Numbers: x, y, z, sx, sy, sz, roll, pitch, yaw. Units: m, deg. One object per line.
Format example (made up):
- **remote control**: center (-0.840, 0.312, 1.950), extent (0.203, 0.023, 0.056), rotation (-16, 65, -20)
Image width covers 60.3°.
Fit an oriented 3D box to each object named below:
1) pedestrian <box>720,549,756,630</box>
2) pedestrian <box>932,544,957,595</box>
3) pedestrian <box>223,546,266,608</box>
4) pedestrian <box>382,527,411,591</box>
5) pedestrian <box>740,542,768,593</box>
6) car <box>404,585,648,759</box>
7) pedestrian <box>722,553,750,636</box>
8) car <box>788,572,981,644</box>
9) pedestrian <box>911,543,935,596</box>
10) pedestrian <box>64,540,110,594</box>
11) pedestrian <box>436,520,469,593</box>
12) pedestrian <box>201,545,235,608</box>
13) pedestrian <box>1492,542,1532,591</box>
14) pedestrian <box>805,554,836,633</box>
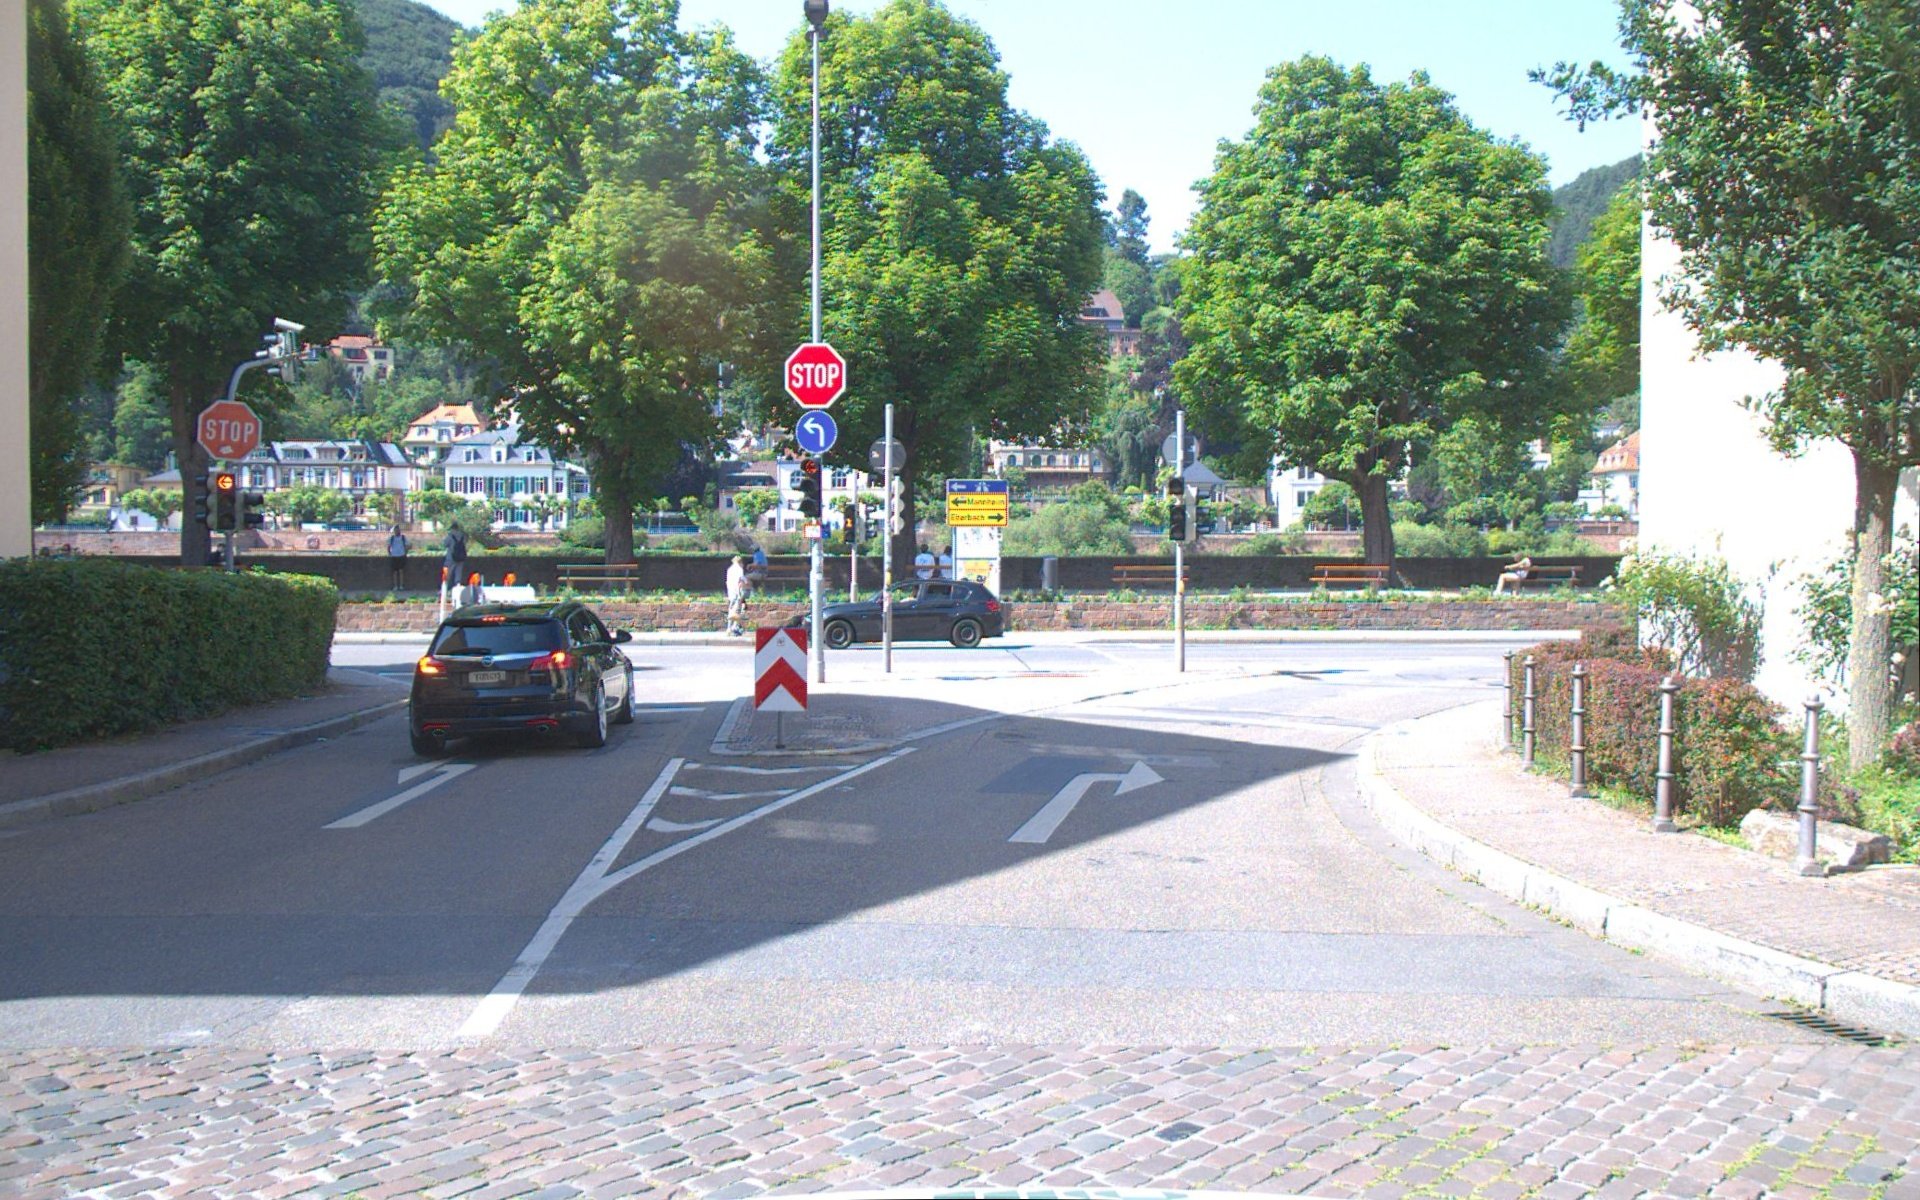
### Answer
- **pedestrian**: center (-5.119, -0.240, 38.157), extent (0.707, 1.833, 0.634), rotation (-1, 0, -2)
- **pedestrian**: center (-0.396, -0.769, 42.214), extent (0.542, 1.250, 0.985), rotation (2, -2, -4)
- **pedestrian**: center (-17.511, -0.567, 40.488), extent (0.457, 1.505, 1.385), rotation (0, 1, -1)
- **pedestrian**: center (-15.599, -1.122, 45.794), extent (0.696, 1.762, 0.754), rotation (0, 0, -15)
- **pedestrian**: center (-5.138, -0.807, 41.243), extent (0.630, 1.249, 0.413), rotation (0, 1, -14)
- **car**: center (-4.421, 0.641, 17.553), extent (1.681, 1.487, 4.720), rotation (-2, 1, -5)
- **pedestrian**: center (-5.039, -0.128, 37.217), extent (0.566, 1.833, 0.705), rotation (0, 1, -2)
- **car**: center (-1.587, 0.145, 34.450), extent (3.908, 1.443, 1.873), rotation (0, 1, -4)
- **pedestrian**: center (-0.947, -0.768, 41.989), extent (0.542, 1.302, 0.703), rotation (2, -2, -2)
- **pedestrian**: center (-21.222, -0.793, 40.218), extent (0.457, 1.292, 1.224), rotation (0, 1, -1)
- **pedestrian**: center (-13.322, -1.131, 43.439), extent (0.752, 1.890, 0.751), rotation (0, 0, -22)
- **pedestrian**: center (-18.040, -0.583, 40.217), extent (0.457, 1.519, 0.804), rotation (0, 1, -1)
- **pedestrian**: center (14.500, -0.870, 43.479), extent (0.781, 1.232, 0.715), rotation (2, -2, -2)
- **pedestrian**: center (-3.242, -0.149, 38.563), extent (0.674, 1.800, 0.717), rotation (-1, 0, -5)
